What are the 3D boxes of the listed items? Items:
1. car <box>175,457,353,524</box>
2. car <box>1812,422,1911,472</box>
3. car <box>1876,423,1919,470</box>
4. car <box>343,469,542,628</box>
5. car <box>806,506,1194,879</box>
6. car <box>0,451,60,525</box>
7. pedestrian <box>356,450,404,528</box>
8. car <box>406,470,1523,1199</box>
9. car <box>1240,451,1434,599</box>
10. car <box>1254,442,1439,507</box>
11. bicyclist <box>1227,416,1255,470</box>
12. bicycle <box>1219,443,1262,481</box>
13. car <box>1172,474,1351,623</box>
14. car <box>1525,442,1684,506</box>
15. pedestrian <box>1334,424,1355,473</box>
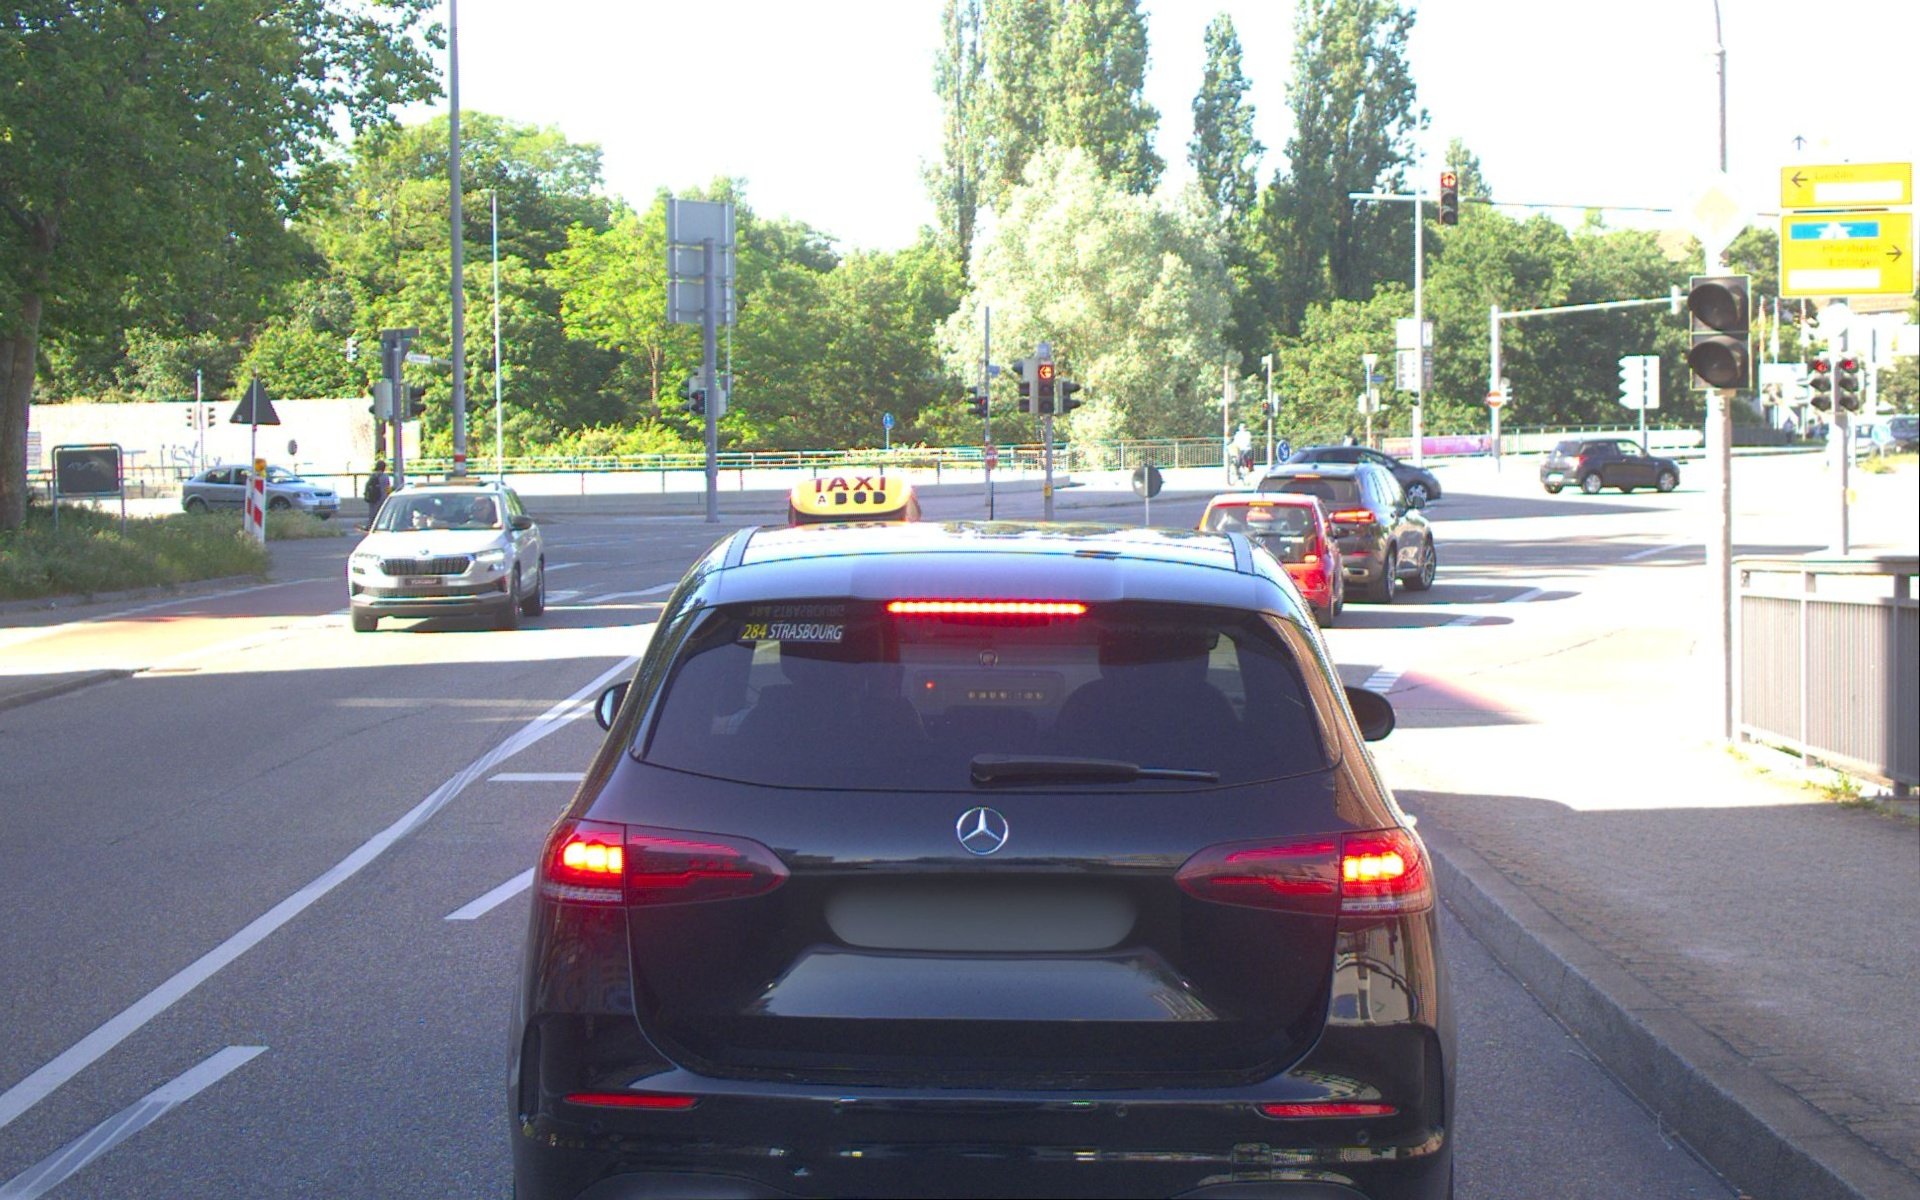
[{"bbox_3d":[-17.172,-2.705,84.834,3.993,1.624,1.888,1,2,28],"label":"car"},{"bbox_3d":[30.080,-5.108,114.653,1.882,1.573,3.992,1,3,36],"label":"car"},{"bbox_3d":[33.571,-5.373,119.807,1.882,1.573,3.992,1,3,36],"label":"car"},{"bbox_3d":[-5.814,-0.629,39.015,1.804,1.617,4.001,-1,3,-3],"label":"car"},{"bbox_3d":[0.224,0.354,16.549,1.640,1.524,3.474,-1,2,2],"label":"car"},{"bbox_3d":[-23.130,-2.612,80.375,3.995,1.629,1.780,1,4,34],"label":"car"},{"bbox_3d":[-11.469,-2.201,67.982,0.705,1.520,0.743,1,2,10],"label":"pedestrian"},{"bbox_3d":[-0.018,0.541,7.832,1.878,1.608,4.000,1,2,-1],"label":"car"},{"bbox_3d":[4.989,-1.024,45.053,1.723,1.805,4.294,0,3,17],"label":"car"},{"bbox_3d":[9.151,-2.963,81.433,3.986,1.492,1.745,0,1,-14],"label":"car"},{"bbox_3d":[8.143,-4.560,99.662,0.526,1.545,0.806,-1,2,26],"label":"bicyclist"},{"bbox_3d":[8.148,-4.009,99.695,0.526,1.046,1.987,-1,3,26],"label":"bicycle"},{"bbox_3d":[3.492,-0.628,39.390,1.722,1.516,3.485,0,4,10],"label":"car"},{"bbox_3d":[16.924,-3.299,90.228,3.987,1.542,1.890,0,1,-36],"label":"car"},{"bbox_3d":[12.543,-4.923,112.046,0.451,1.580,0.500,1,3,40],"label":"pedestrian"}]
